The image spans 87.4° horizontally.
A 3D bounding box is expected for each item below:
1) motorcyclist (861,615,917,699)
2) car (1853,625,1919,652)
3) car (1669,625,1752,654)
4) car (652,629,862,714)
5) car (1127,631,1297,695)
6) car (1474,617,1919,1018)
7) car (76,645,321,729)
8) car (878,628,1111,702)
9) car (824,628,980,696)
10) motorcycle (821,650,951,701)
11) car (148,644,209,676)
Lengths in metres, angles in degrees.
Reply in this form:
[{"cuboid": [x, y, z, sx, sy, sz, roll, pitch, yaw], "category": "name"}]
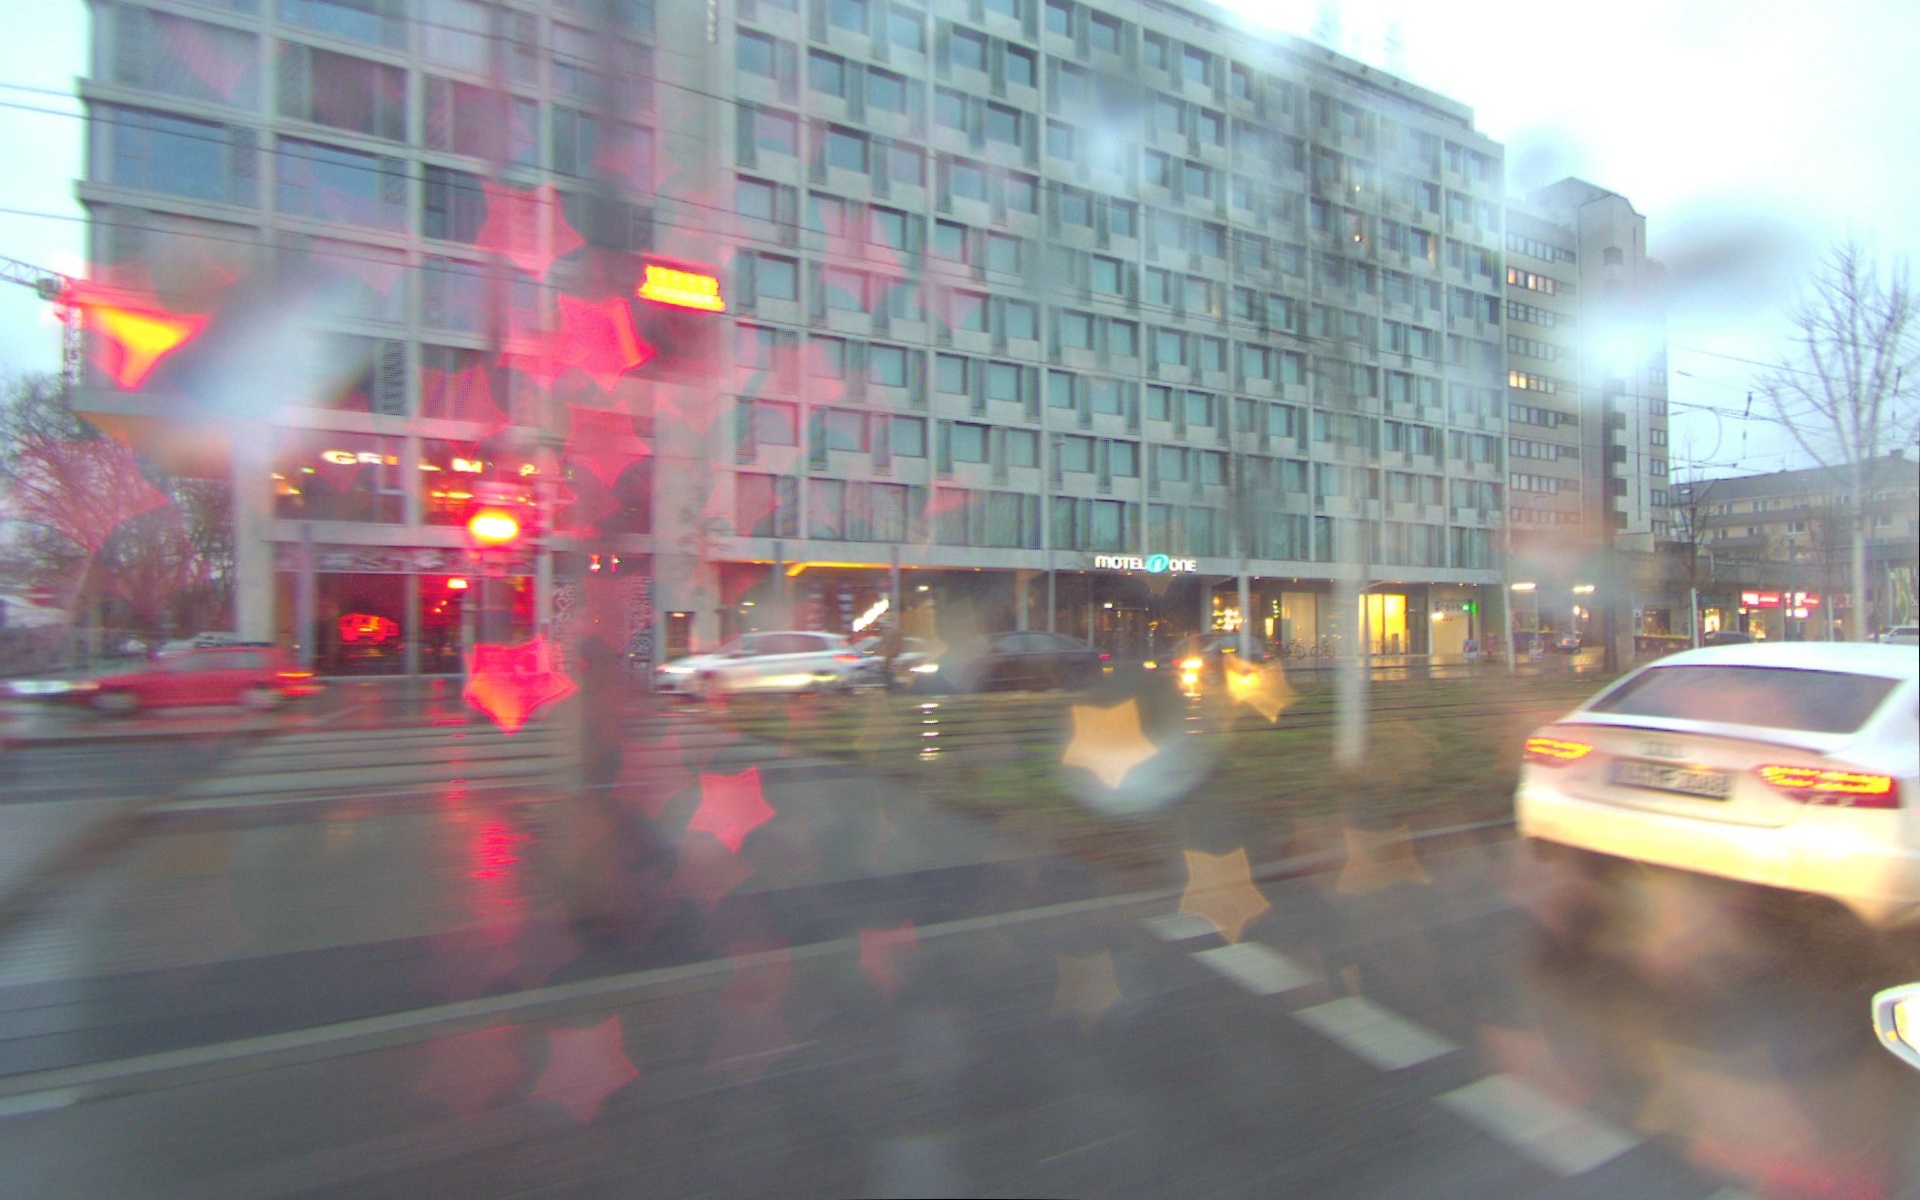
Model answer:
[{"cuboid": [-1.650, 1.301, 23.318, 1.021, 1.910, 0.867, 1, -1, -29], "category": "motorcyclist"}, {"cuboid": [72.362, 2.984, 77.455, 4.788, 2.040, 2.000, -1, -1, 20], "category": "car"}, {"cuboid": [47.309, 2.472, 63.405, 3.744, 1.821, 1.910, -1, -1, 20], "category": "car"}, {"cuboid": [-4.782, 1.617, 23.761, 4.540, 1.813, 1.874, 1, -1, -28], "category": "car"}, {"cuboid": [6.717, 1.571, 26.414, 5.060, 1.481, 1.974, 1, -1, -44], "category": "car"}, {"cuboid": [4.951, 0.862, 5.600, 4.202, 1.489, 1.751, 1, -1, -30], "category": "car"}, {"cuboid": [-16.419, 1.825, 21.948, 3.949, 1.595, 1.874, 1, -1, -27], "category": "car"}, {"cuboid": [0.837, 1.413, 22.897, 5.034, 1.481, 1.984, 1, -1, -30], "category": "car"}, {"cuboid": [-1.663, 1.725, 28.995, 4.123, 1.813, 1.874, 1, -1, -28], "category": "car"}, {"cuboid": [-1.684, 1.724, 23.294, 2.931, 1.071, 0.867, 1, -1, -30], "category": "motorcycle"}, {"cuboid": [-42.680, 3.265, 54.934, 1.863, 1.595, 3.973, 0, -2, -27], "category": "car"}]
